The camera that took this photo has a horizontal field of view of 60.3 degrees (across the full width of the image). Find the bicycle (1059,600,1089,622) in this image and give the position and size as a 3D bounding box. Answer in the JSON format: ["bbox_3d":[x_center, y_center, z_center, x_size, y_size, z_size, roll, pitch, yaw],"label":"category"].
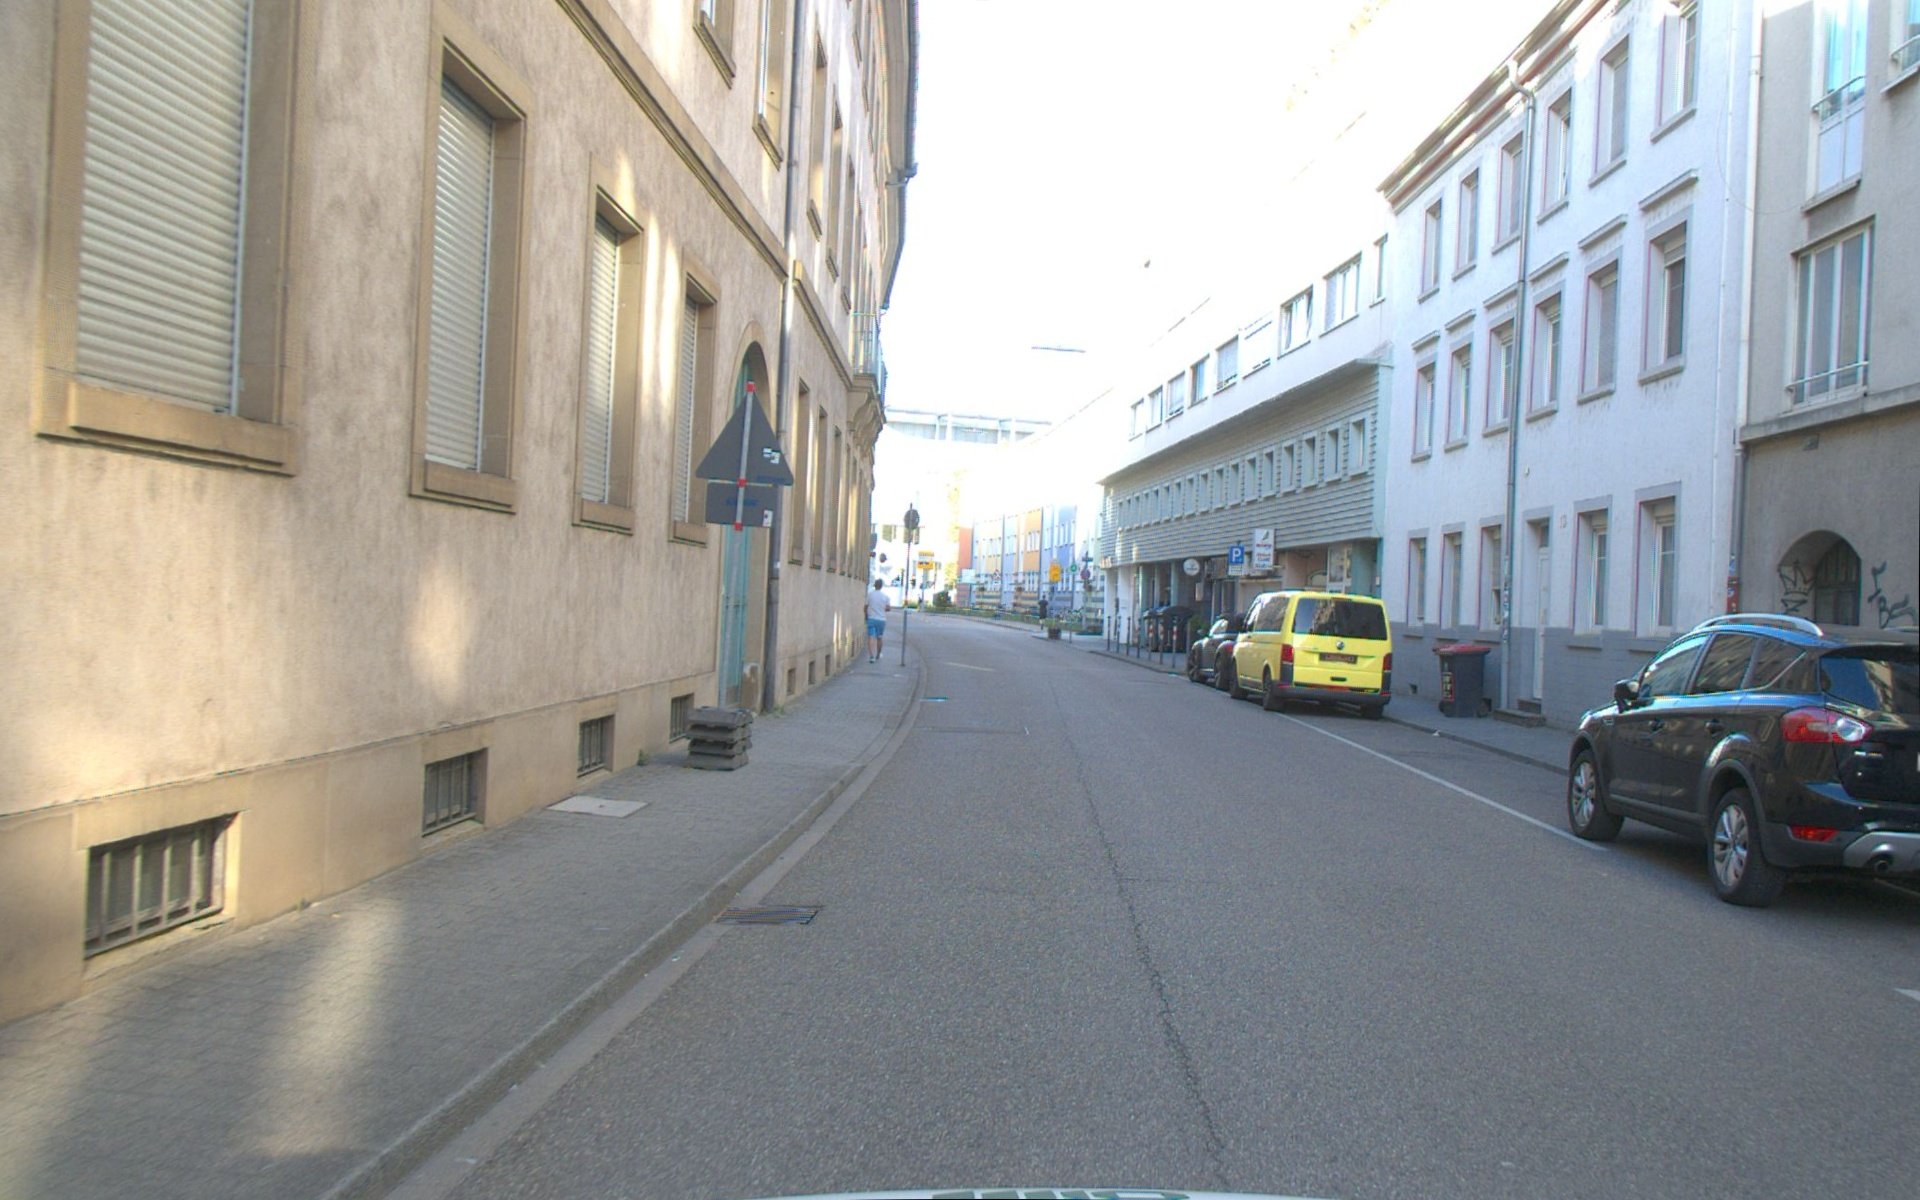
[{"bbox_3d":[6.170,0.575,89.252,1.613,1.161,0.282,-1,1,-14],"label":"bicycle"}]

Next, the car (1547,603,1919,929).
[{"bbox_3d":[5.535,0.925,11.064,1.787,1.683,4.495,3,0,3],"label":"car"}]

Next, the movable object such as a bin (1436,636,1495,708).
[{"bbox_3d":[7.832,1.109,25.655,0.614,1.069,0.708,-2,0,-6],"label":"movable object such as a bin"}]

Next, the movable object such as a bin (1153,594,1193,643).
[{"bbox_3d":[6.680,0.588,51.963,0.961,1.506,1.550,1,-2,-3],"label":"movable object such as a bin"}]

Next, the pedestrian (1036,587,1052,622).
[{"bbox_3d":[4.408,0.236,86.496,0.683,1.791,1.187,0,0,-6],"label":"pedestrian"}]

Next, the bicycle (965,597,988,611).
[{"bbox_3d":[1.347,0.323,132.362,1.722,1.021,0.612,1,0,-11],"label":"bicycle"}]

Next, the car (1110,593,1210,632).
[{"bbox_3d":[8.653,0.527,71.783,3.999,1.508,1.863,2,0,-6],"label":"car"}]

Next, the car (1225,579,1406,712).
[{"bbox_3d":[5.819,0.677,27.680,1.845,1.914,4.845,3,0,-1],"label":"car"}]

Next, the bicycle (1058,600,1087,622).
[{"bbox_3d":[6.103,0.574,89.519,1.575,1.161,0.236,-1,1,-14],"label":"bicycle"}]

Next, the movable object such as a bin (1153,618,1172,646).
[{"bbox_3d":[6.670,1.056,54.499,0.545,0.915,0.522,1,-2,-4],"label":"movable object such as a bin"}]

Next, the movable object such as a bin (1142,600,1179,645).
[{"bbox_3d":[6.478,0.750,53.463,0.961,1.409,1.319,1,-2,-3],"label":"movable object such as a bin"}]

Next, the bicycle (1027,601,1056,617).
[{"bbox_3d":[5.014,0.549,102.396,1.714,0.963,0.551,2,0,-6],"label":"bicycle"}]

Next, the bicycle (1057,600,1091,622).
[{"bbox_3d":[6.070,0.588,87.824,1.714,1.161,0.551,-1,1,-6],"label":"bicycle"}]

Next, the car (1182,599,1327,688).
[{"bbox_3d":[5.784,0.814,32.995,1.846,1.515,4.366,3,0,-3],"label":"car"}]

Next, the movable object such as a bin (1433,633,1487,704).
[{"bbox_3d":[7.986,1.088,26.455,0.594,1.069,0.708,-2,0,-2],"label":"movable object such as a bin"}]

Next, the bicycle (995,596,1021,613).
[{"bbox_3d":[3.442,0.337,118.315,1.776,1.157,0.551,2,-1,-8],"label":"bicycle"}]

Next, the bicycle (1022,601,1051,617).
[{"bbox_3d":[4.694,0.547,101.674,1.714,0.963,0.551,2,0,-6],"label":"bicycle"}]

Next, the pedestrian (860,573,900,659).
[{"bbox_3d":[-1.649,0.333,34.198,0.679,1.699,0.875,4,0,-2],"label":"pedestrian"}]
